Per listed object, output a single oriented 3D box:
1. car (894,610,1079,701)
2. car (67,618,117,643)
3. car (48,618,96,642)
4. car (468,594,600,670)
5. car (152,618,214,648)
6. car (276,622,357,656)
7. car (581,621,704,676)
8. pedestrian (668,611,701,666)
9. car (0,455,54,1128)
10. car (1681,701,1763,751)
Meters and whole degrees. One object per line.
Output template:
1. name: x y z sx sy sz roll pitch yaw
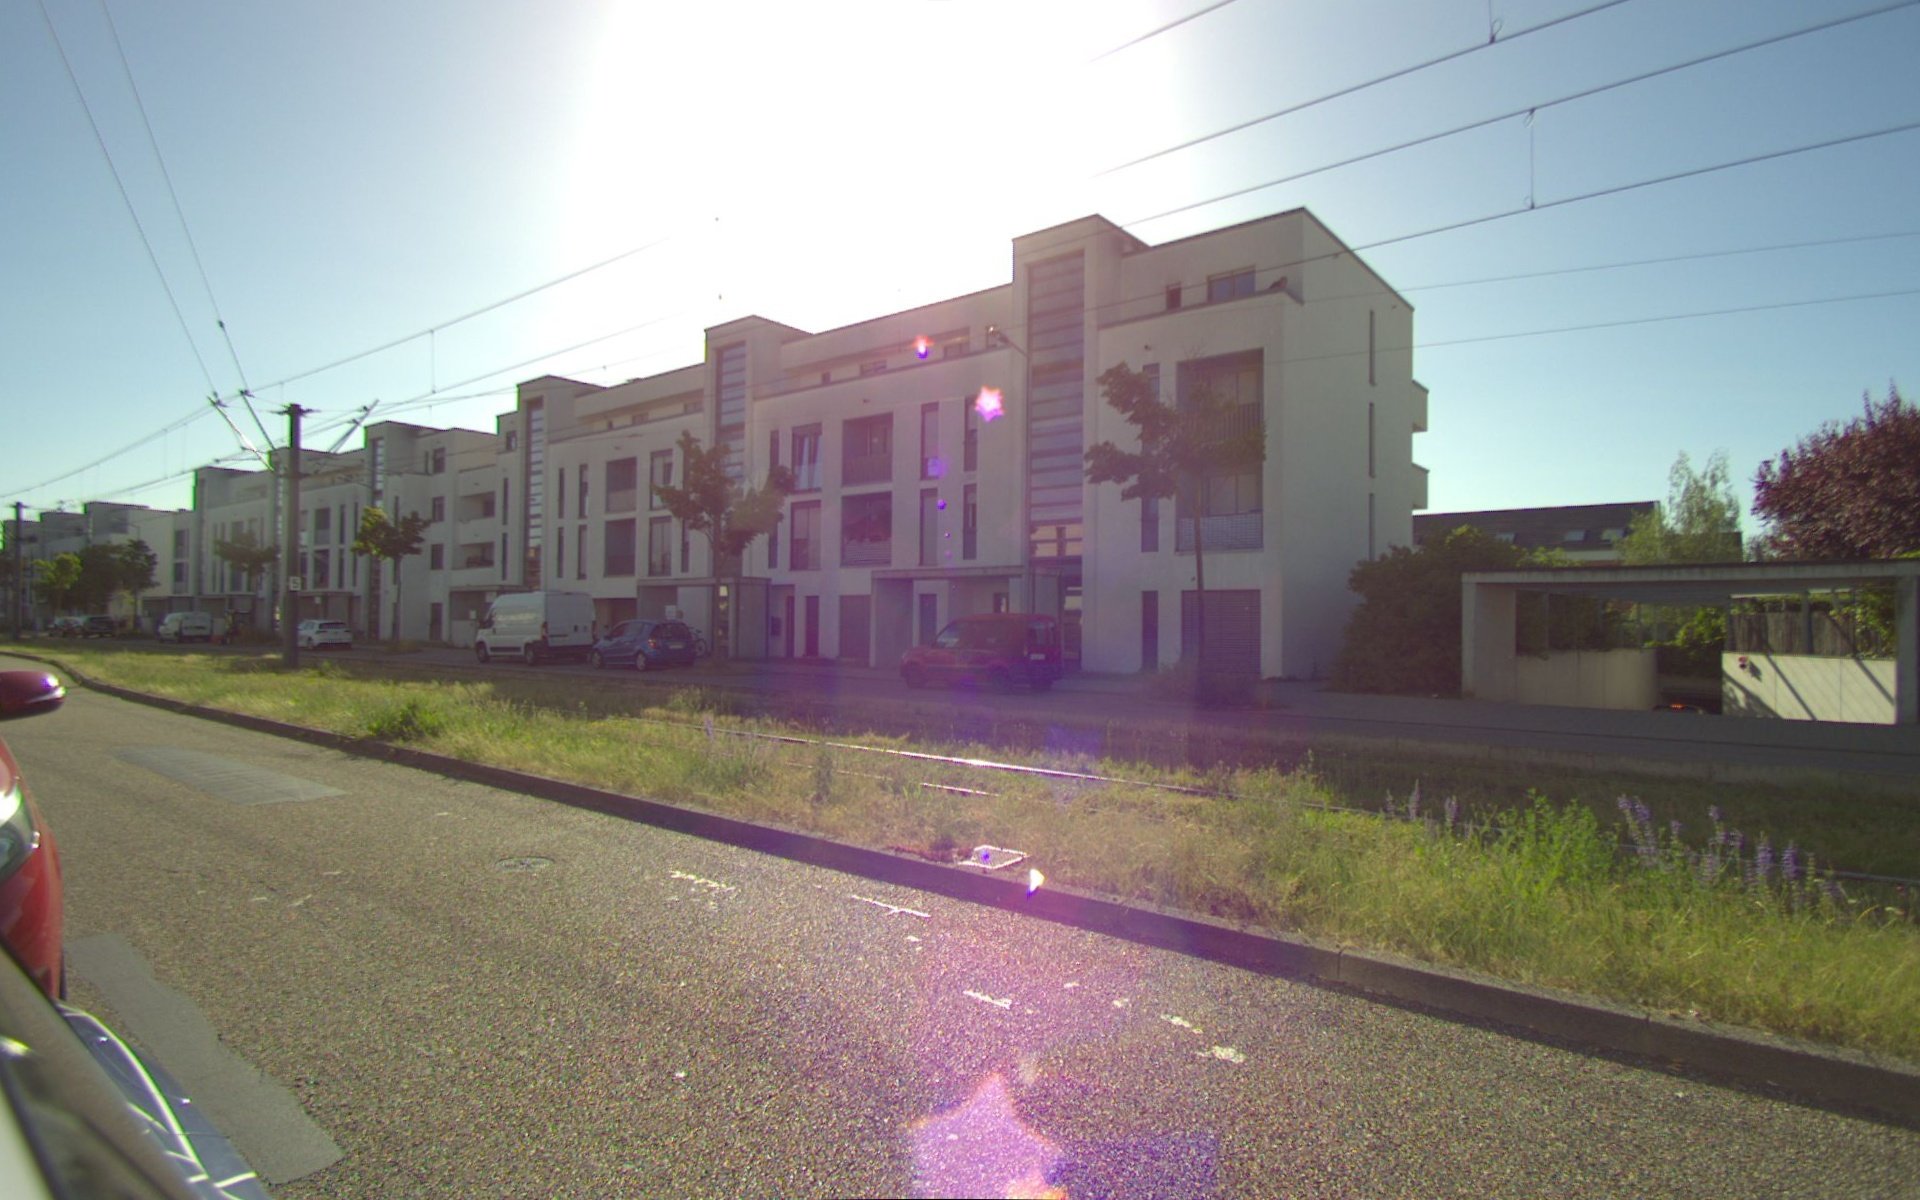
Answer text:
1. car: 0.547 1.174 23.021 3.895 1.842 1.972 -1 0 43
2. car: -62.967 2.173 73.409 4.277 1.693 1.900 -1 0 37
3. car: -67.512 2.264 76.933 4.277 1.693 1.900 -1 0 37
4. car: -15.186 1.082 35.947 5.193 2.491 2.197 -1 0 40
5. car: -47.346 1.969 61.628 4.277 1.693 1.900 -1 0 37
6. car: -31.126 1.846 48.902 4.277 1.517 1.900 -1 0 37
7. car: -9.991 1.454 31.742 3.833 1.556 1.973 -1 0 40
8. pedestrian: -9.345 1.296 34.341 0.785 1.836 0.766 -1 0 41
9. car: -4.892 0.560 3.681 4.505 1.868 1.850 -1 0 41
10. car: 23.288 3.859 30.884 1.576 1.337 3.943 -2 -7 43
